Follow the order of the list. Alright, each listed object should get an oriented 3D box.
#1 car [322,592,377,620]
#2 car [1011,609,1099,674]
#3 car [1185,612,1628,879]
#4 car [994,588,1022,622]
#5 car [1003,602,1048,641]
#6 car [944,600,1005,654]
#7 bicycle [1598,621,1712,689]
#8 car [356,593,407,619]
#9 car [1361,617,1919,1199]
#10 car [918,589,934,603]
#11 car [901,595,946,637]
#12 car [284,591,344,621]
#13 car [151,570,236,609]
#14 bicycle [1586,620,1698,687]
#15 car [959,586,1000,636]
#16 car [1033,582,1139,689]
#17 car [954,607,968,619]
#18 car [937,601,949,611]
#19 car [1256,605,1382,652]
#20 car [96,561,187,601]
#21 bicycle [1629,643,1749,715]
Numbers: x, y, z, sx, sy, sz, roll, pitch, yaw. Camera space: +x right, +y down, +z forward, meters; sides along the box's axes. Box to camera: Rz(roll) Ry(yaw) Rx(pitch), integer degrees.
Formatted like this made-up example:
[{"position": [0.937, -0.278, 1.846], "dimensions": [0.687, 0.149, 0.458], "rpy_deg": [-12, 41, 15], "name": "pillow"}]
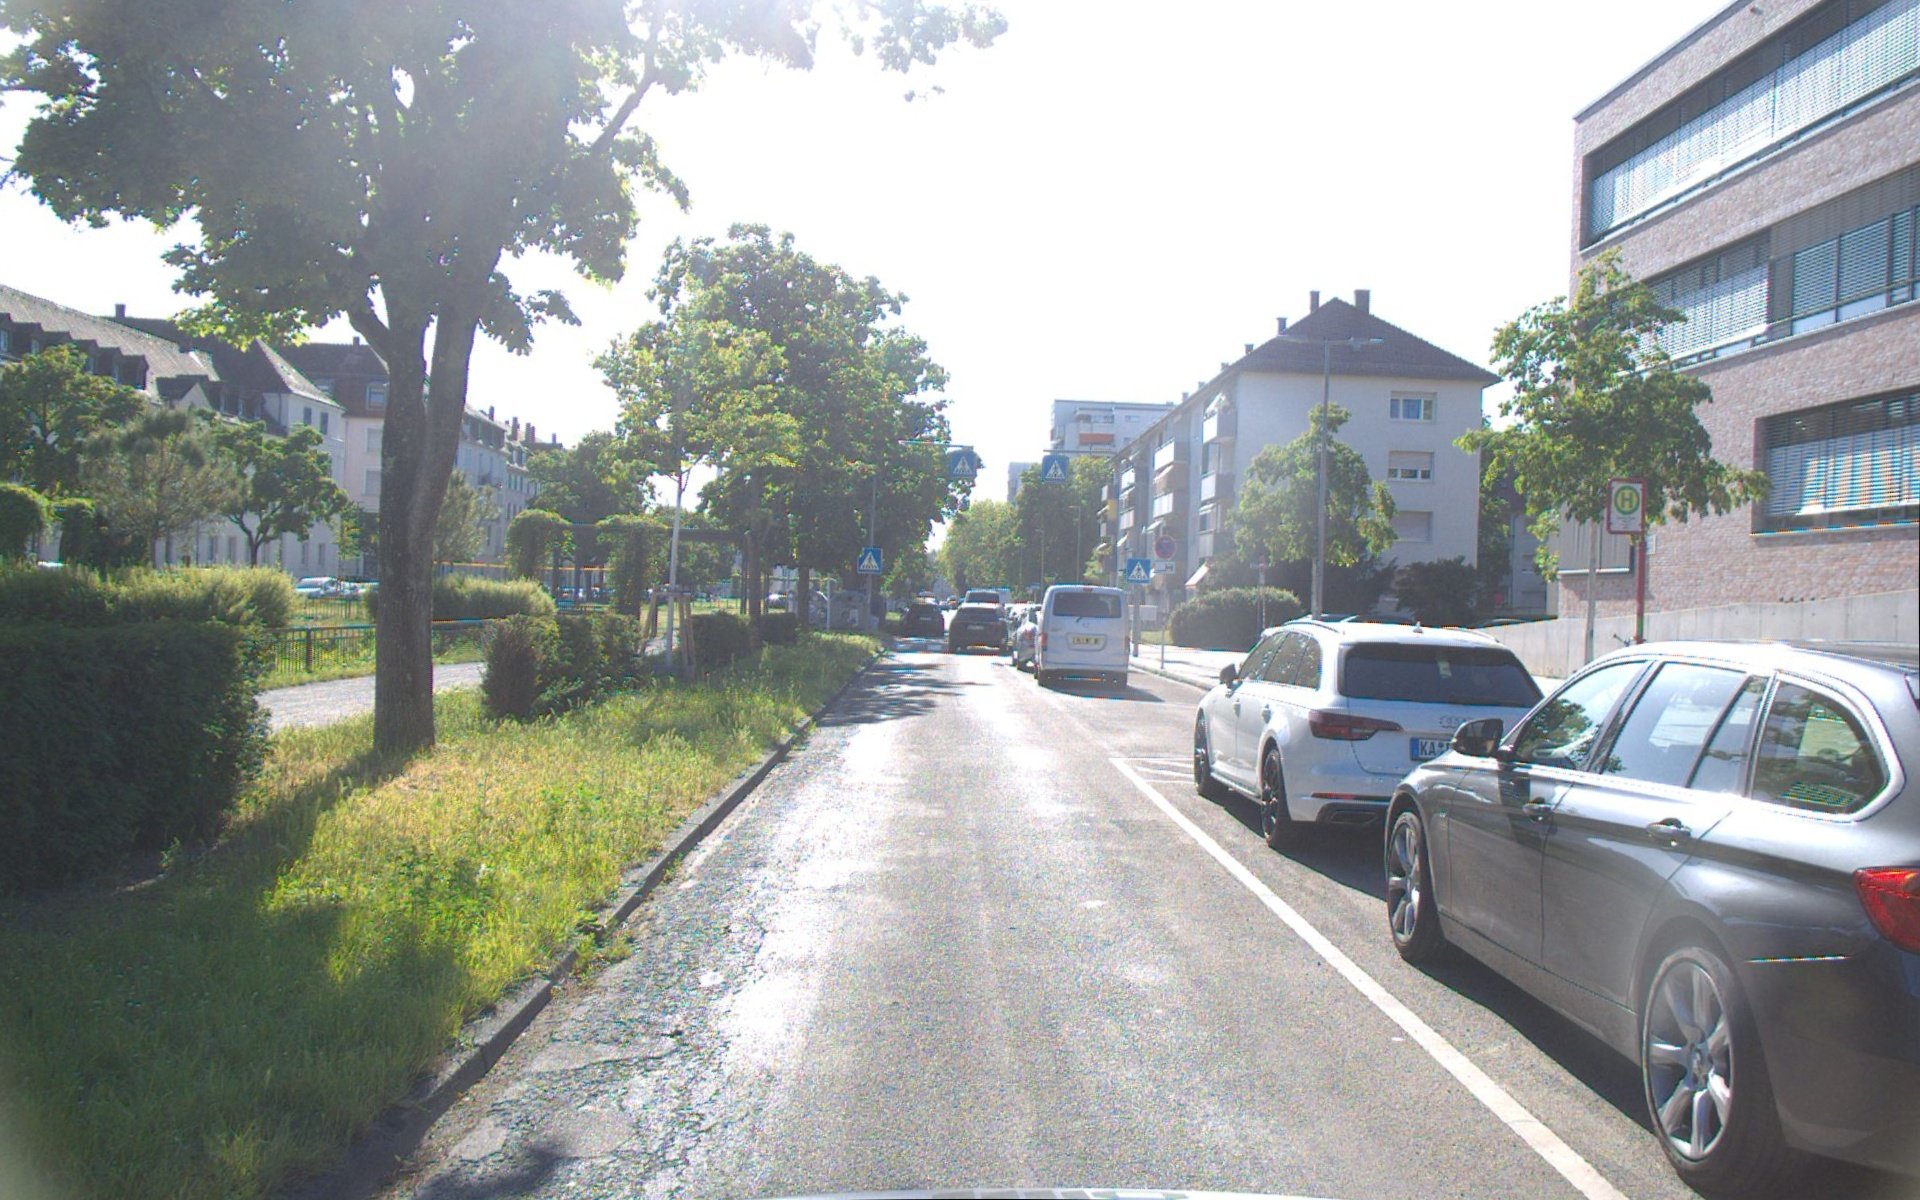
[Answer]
[{"position": [-35.897, 0.334, 97.338], "dimensions": [1.758, 1.536, 3.999], "rpy_deg": [2, 0, -1], "name": "car"}, {"position": [2.169, 0.939, 38.618], "dimensions": [1.729, 1.342, 4.167], "rpy_deg": [3, -1, 0], "name": "car"}, {"position": [2.853, 0.847, 11.711], "dimensions": [1.758, 1.445, 4.656], "rpy_deg": [1, 0, -1], "name": "car"}, {"position": [3.768, 0.389, 130.672], "dimensions": [1.953, 2.472, 4.499], "rpy_deg": [4, 0, -1], "name": "car"}, {"position": [2.865, 0.928, 73.471], "dimensions": [1.758, 1.629, 3.999], "rpy_deg": [2, 0, -1], "name": "car"}, {"position": [0.414, 0.786, 50.674], "dimensions": [1.758, 1.536, 3.999], "rpy_deg": [2, 0, -1], "name": "car"}, {"position": [11.931, 0.933, 28.399], "dimensions": [1.758, 1.127, 0.500], "rpy_deg": [-1, 0, -4], "name": "bicycle"}, {"position": [-36.040, 0.343, 103.096], "dimensions": [1.758, 1.536, 3.999], "rpy_deg": [2, 0, -1], "name": "car"}, {"position": [2.936, 0.823, 5.663], "dimensions": [1.953, 1.445, 4.635], "rpy_deg": [1, 0, 0], "name": "car"}, {"position": [-3.988, -0.466, 194.503], "dimensions": [1.757, 1.537, 3.999], "rpy_deg": [1, 0, -1], "name": "car"}, {"position": [-1.511, 0.637, 69.735], "dimensions": [1.758, 1.652, 3.999], "rpy_deg": [2, 0, -1], "name": "car"}, {"position": [-35.886, 0.323, 92.029], "dimensions": [1.758, 1.536, 3.999], "rpy_deg": [2, 0, -1], "name": "car"}, {"position": [-35.684, -0.474, 77.171], "dimensions": [1.758, 1.740, 4.702], "rpy_deg": [2, 0, -1], "name": "car"}, {"position": [11.916, 0.933, 28.928], "dimensions": [1.758, 1.127, 0.500], "rpy_deg": [-1, 0, -4], "name": "bicycle"}, {"position": [0.860, 0.495, 75.610], "dimensions": [1.758, 2.159, 3.999], "rpy_deg": [2, 0, -1], "name": "car"}, {"position": [2.387, 0.648, 32.263], "dimensions": [1.757, 1.887, 4.413], "rpy_deg": [2, 0, 1], "name": "car"}, {"position": [0.108, 1.658, 217.729], "dimensions": [1.757, 1.537, 3.999], "rpy_deg": [1, 0, -1], "name": "car"}, {"position": [-2.562, 0.880, 245.100], "dimensions": [1.757, 1.537, 3.999], "rpy_deg": [1, 0, -1], "name": "car"}, {"position": [13.682, 1.103, 63.153], "dimensions": [4.391, 1.651, 1.798], "rpy_deg": [2, -2, -4], "name": "car"}, {"position": [-33.903, -0.764, 68.614], "dimensions": [1.758, 1.536, 3.999], "rpy_deg": [2, 0, -1], "name": "car"}, {"position": [11.964, 1.292, 27.155], "dimensions": [1.758, 1.127, 0.500], "rpy_deg": [-1, 0, -4], "name": "bicycle"}]
